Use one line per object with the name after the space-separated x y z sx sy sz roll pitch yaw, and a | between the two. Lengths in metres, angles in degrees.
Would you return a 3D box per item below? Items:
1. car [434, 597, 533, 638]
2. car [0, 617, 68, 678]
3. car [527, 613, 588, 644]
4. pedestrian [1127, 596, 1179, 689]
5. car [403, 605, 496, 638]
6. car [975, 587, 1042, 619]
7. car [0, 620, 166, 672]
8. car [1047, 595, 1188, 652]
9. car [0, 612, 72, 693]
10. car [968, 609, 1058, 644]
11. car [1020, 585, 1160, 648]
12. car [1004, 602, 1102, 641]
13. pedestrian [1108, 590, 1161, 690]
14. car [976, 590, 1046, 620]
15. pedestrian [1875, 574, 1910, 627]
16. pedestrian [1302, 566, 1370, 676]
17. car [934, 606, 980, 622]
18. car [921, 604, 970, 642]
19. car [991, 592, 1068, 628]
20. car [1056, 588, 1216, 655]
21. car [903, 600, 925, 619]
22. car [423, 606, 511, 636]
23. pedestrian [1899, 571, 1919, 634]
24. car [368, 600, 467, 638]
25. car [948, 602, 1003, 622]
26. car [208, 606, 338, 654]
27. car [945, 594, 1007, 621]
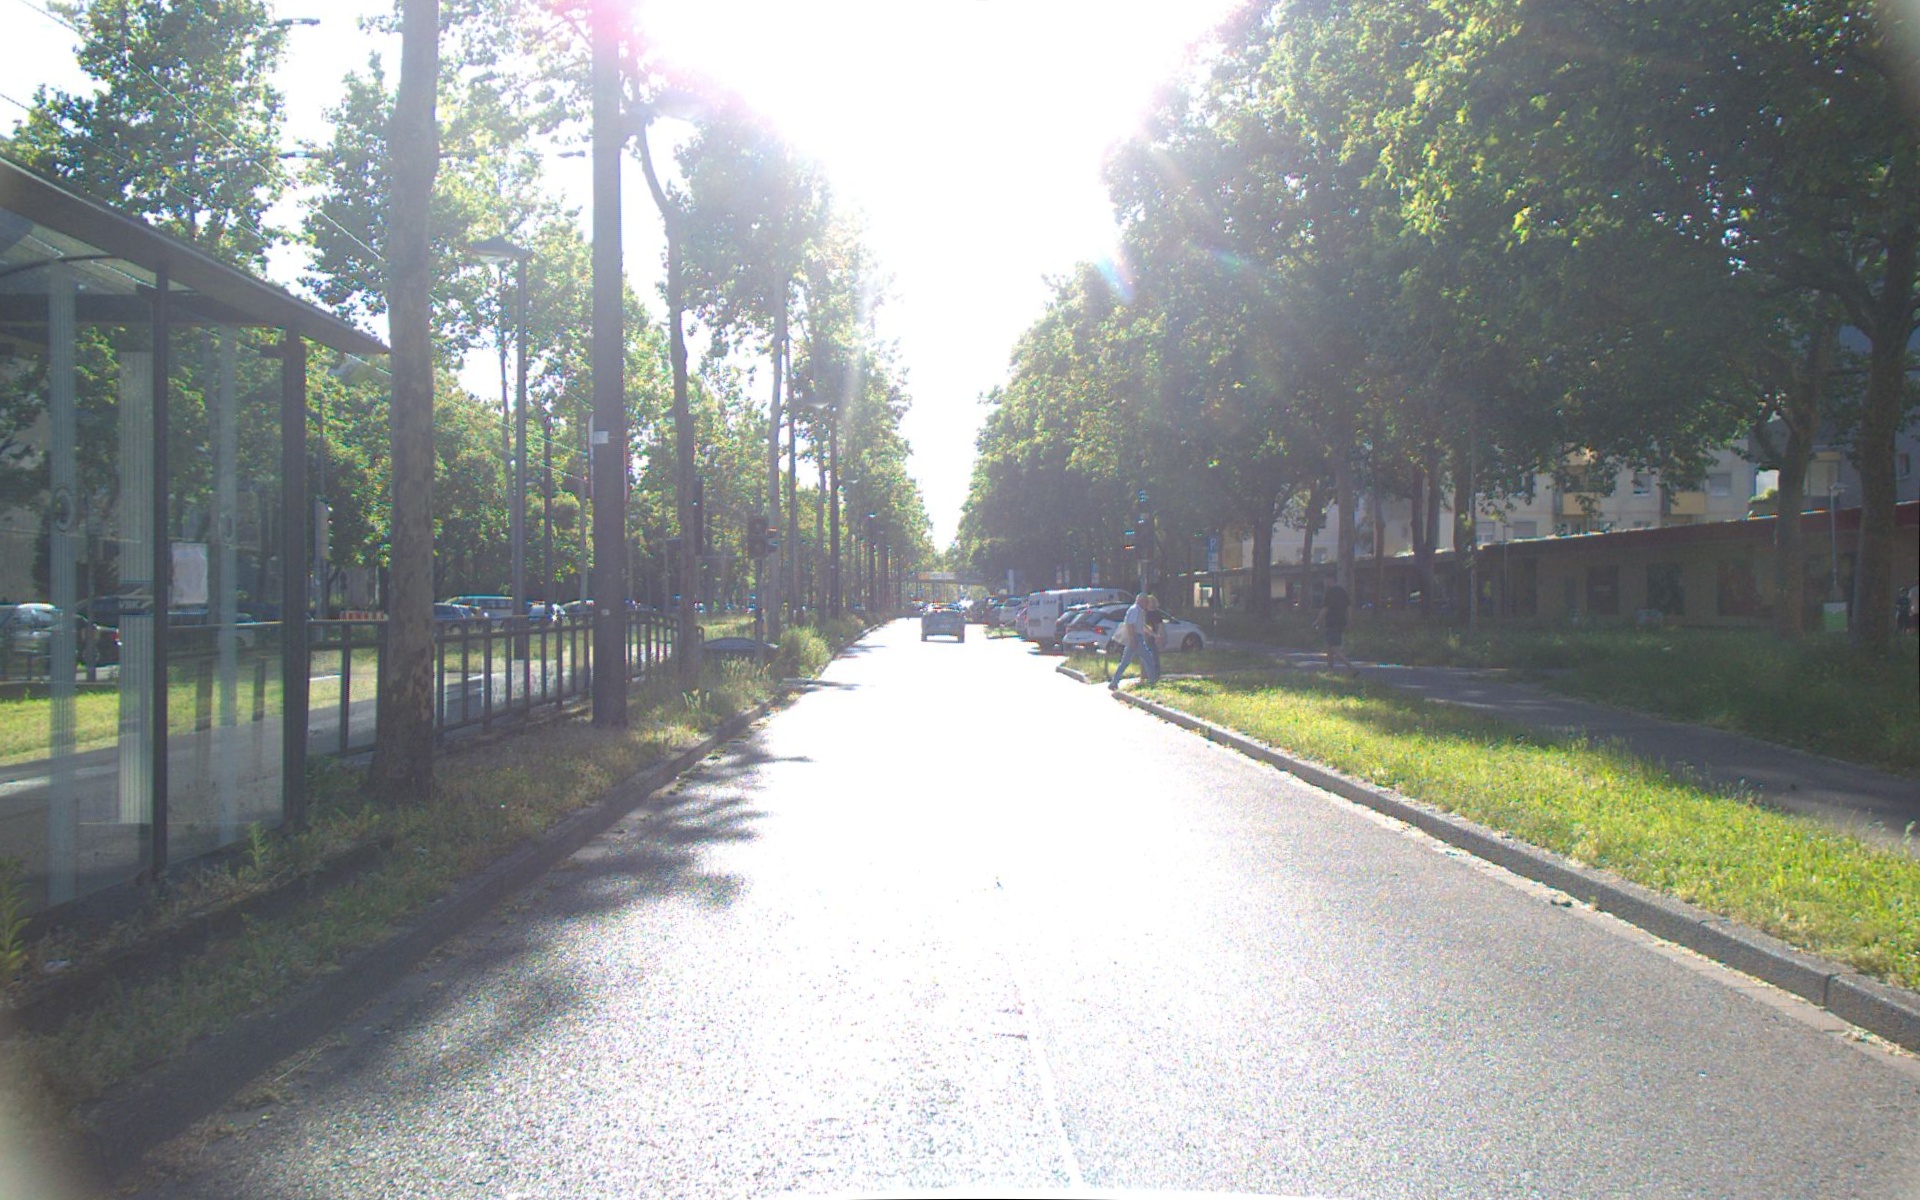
-25.204 0.911 87.539 4.753 2.041 1.865 -1 1 -40 | car
-24.582 1.201 41.191 1.806 1.460 3.807 -1 0 39 | car
-19.909 1.411 81.891 1.952 1.413 4.168 -1 0 0 | car
3.698 0.818 31.698 0.704 1.736 0.646 -2 -1 -36 | pedestrian
-24.684 1.037 80.019 4.053 1.509 1.625 -1 0 -43 | car
2.947 0.166 99.946 4.050 1.842 1.626 -2 0 -42 | car
-23.829 1.207 44.820 3.796 1.268 1.811 -1 0 -44 | car
4.740 0.700 49.641 3.949 1.454 1.779 -3 1 -33 | car
-19.950 1.076 33.552 1.678 1.573 3.933 -1 0 1 | car
2.263 1.091 69.863 1.561 1.397 3.910 0 0 45 | car
4.266 0.532 53.803 4.631 1.885 1.803 -2 0 -42 | car
3.842 0.872 67.915 1.692 1.437 4.155 -2 0 45 | car
3.109 0.707 29.427 0.824 1.752 0.831 -1 0 13 | pedestrian
2.732 0.260 88.945 1.624 1.496 3.760 -2 0 45 | car
25.824 0.007 45.818 0.521 1.455 0.715 -1 1 -7 | pedestrian
6.650 0.357 29.298 0.910 1.918 0.797 0 0 -15 | pedestrian
-0.299 1.374 162.876 1.944 1.484 4.596 -1 0 42 | car
-0.621 0.911 66.942 1.883 1.436 3.999 0 0 -2 | car
3.653 0.522 86.443 3.995 1.735 1.733 -2 0 -43 | car
4.649 0.553 43.592 3.949 1.495 1.741 -3 1 -33 | car
-3.979 0.797 143.617 1.812 1.562 3.865 0 0 -1 | car
-25.100 1.053 84.228 4.053 1.457 1.554 -1 0 -44 | car
26.564 0.053 45.963 0.485 1.730 0.715 -1 1 -7 | pedestrian
-25.203 0.871 76.908 4.053 1.675 1.625 -1 -2 -43 | car
1.261 0.945 134.210 1.826 1.469 4.462 -2 0 45 | car
-24.834 1.058 59.902 1.622 1.501 4.061 5 4 41 | car
1.092 0.514 113.873 4.281 1.747 1.612 -1 1 -41 | car
